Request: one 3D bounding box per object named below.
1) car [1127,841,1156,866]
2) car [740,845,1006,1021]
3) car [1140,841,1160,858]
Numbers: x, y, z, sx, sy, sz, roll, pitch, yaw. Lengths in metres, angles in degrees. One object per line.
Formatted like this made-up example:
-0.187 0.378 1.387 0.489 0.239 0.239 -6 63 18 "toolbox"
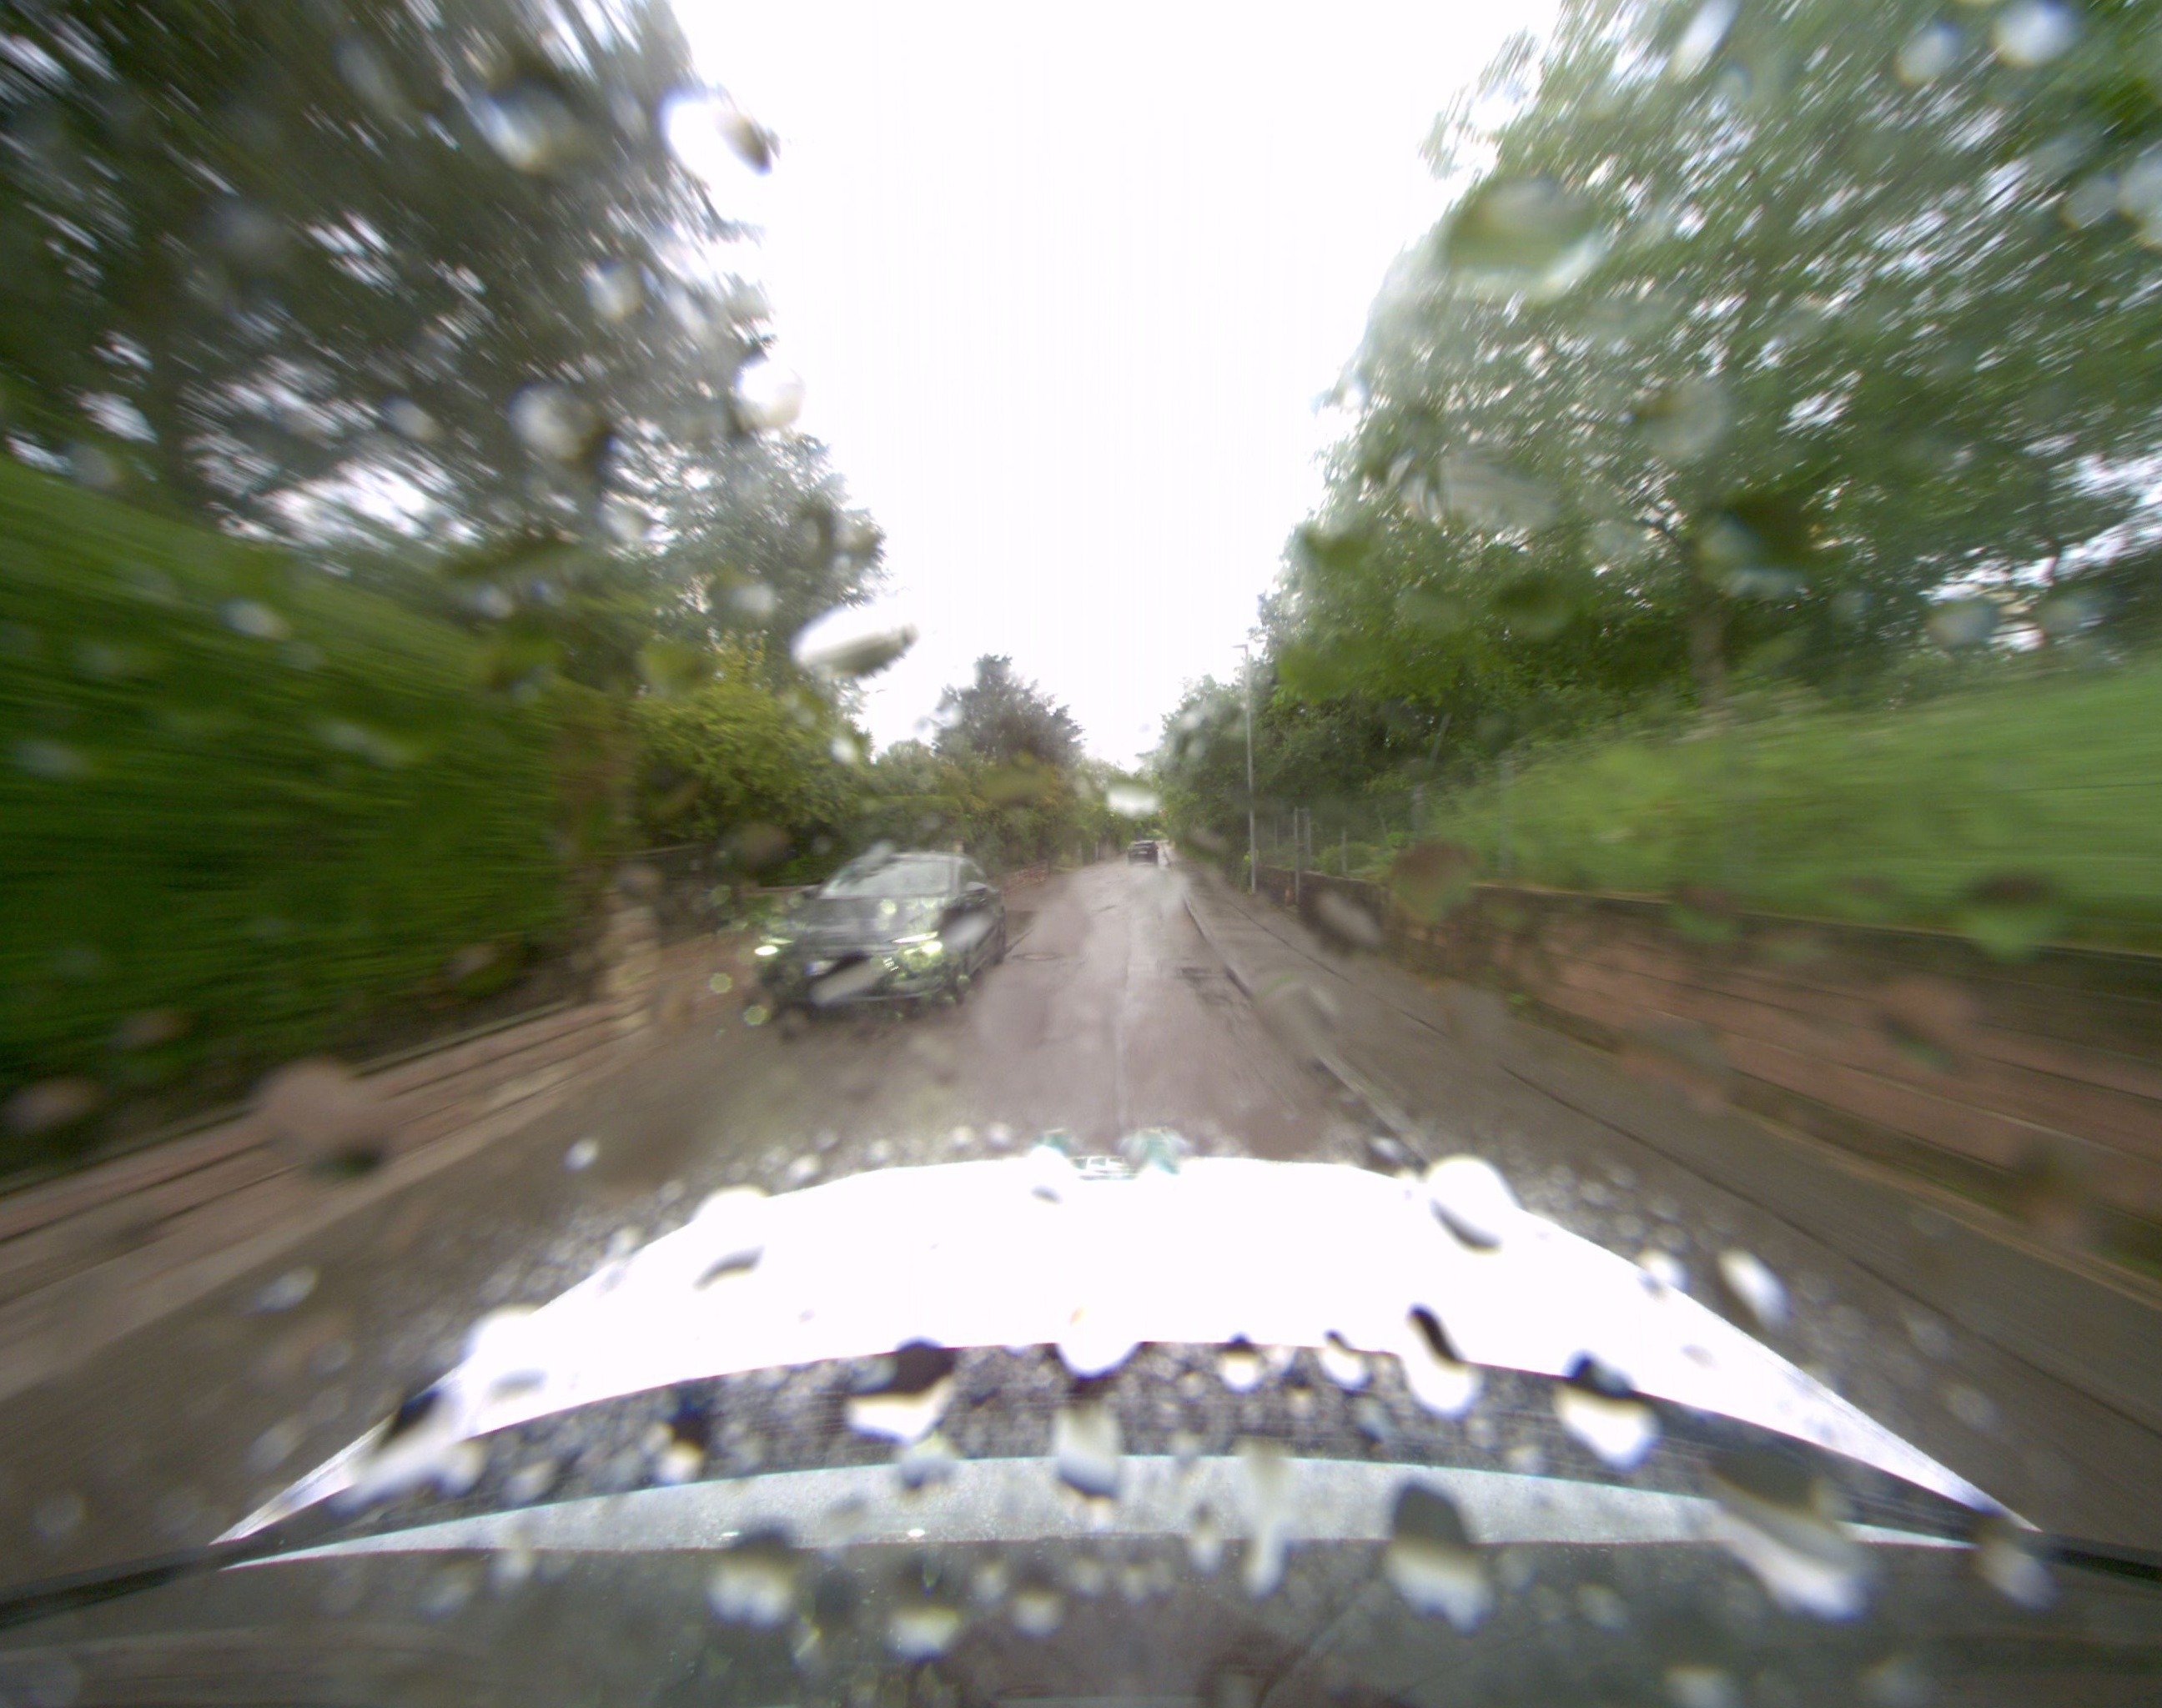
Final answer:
3.722 -0.031 49.537 1.626 1.450 3.550 -1 0 6 "car"
-2.036 0.691 9.394 1.882 1.523 4.422 -1 0 0 "car"
6.007 -0.346 70.763 1.626 1.414 3.551 -1 0 6 "car"
